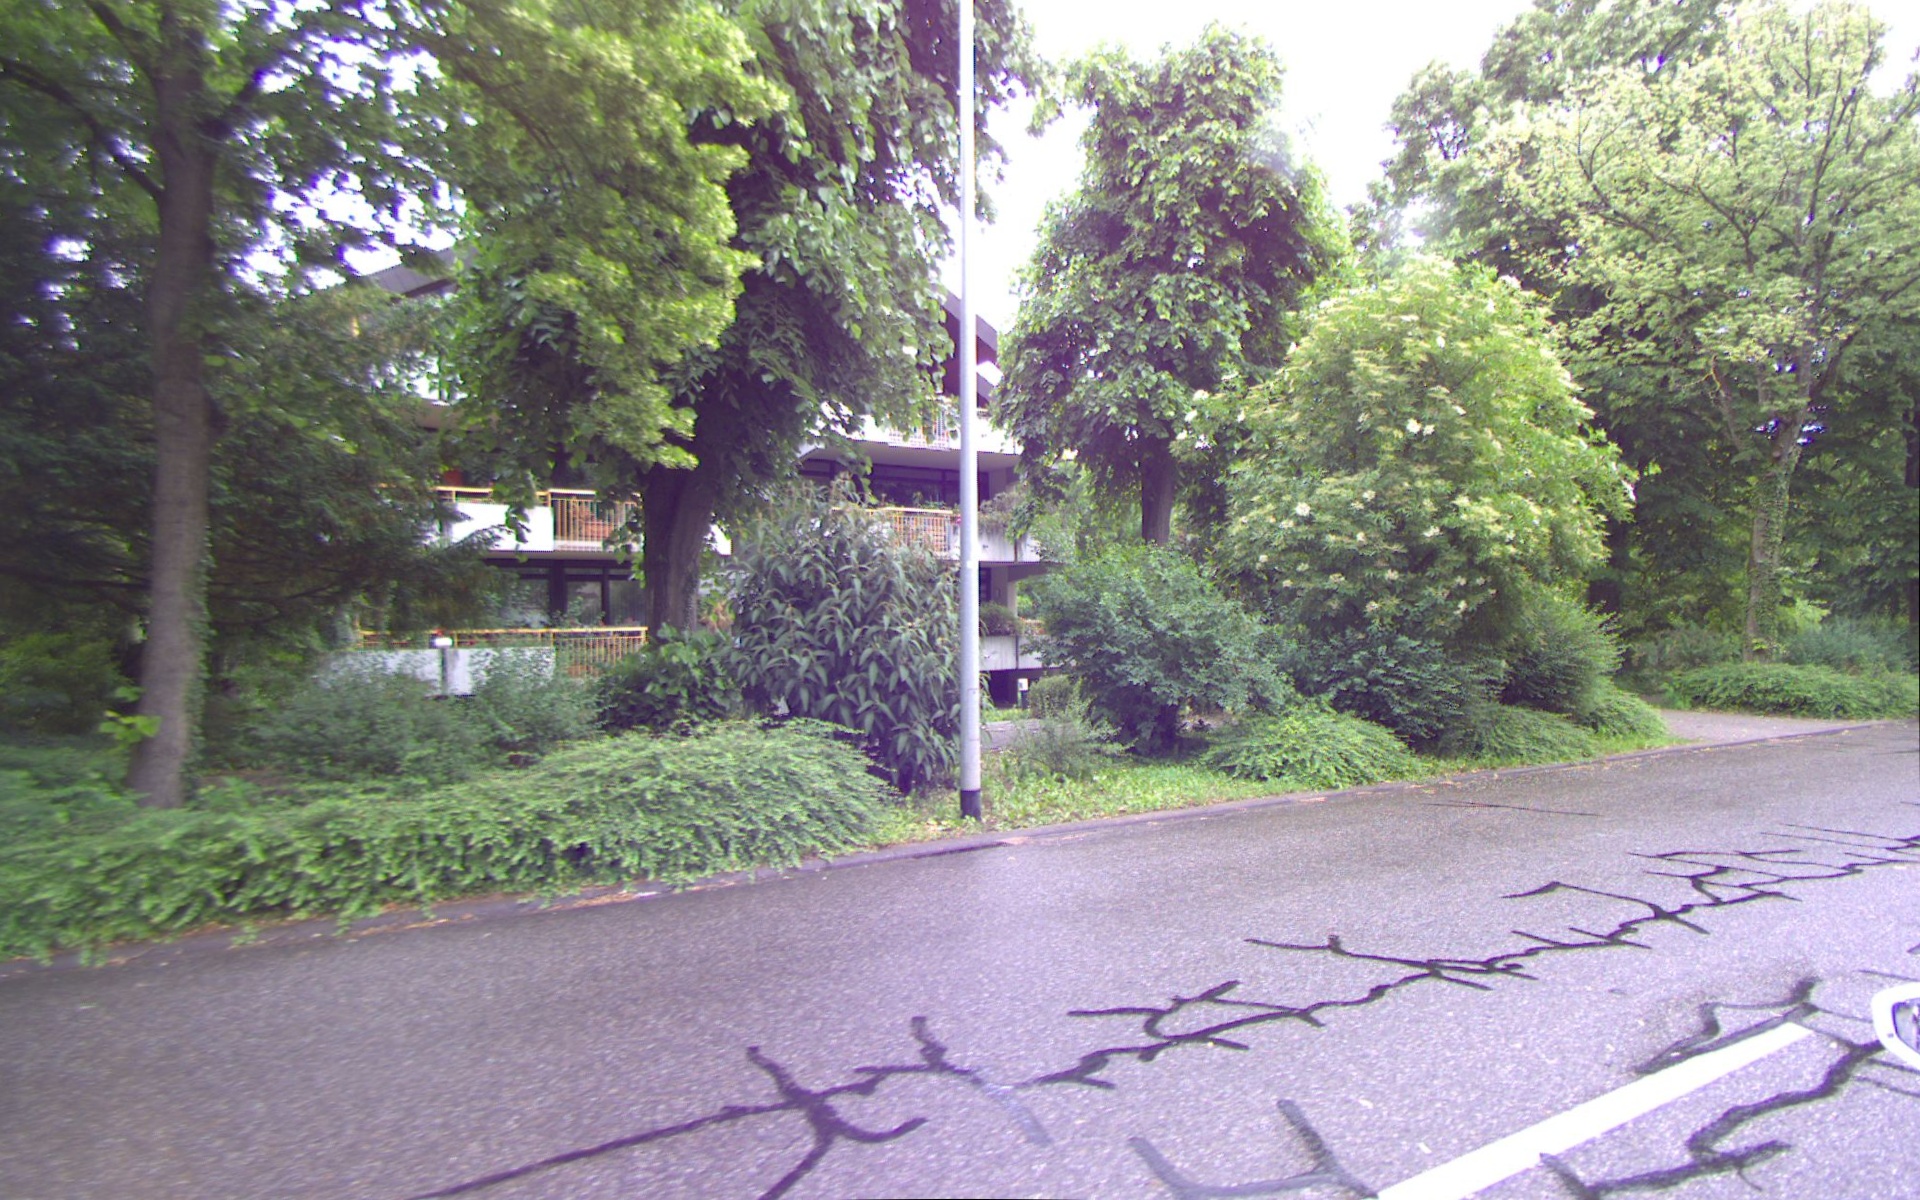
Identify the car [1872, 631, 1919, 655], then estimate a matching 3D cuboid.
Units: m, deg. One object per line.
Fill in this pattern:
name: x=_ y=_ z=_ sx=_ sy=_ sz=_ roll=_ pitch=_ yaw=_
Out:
car: x=57.811 y=2.597 z=60.315 sx=4.445 sy=1.437 sz=1.838 roll=-3 pitch=-3 yaw=42
